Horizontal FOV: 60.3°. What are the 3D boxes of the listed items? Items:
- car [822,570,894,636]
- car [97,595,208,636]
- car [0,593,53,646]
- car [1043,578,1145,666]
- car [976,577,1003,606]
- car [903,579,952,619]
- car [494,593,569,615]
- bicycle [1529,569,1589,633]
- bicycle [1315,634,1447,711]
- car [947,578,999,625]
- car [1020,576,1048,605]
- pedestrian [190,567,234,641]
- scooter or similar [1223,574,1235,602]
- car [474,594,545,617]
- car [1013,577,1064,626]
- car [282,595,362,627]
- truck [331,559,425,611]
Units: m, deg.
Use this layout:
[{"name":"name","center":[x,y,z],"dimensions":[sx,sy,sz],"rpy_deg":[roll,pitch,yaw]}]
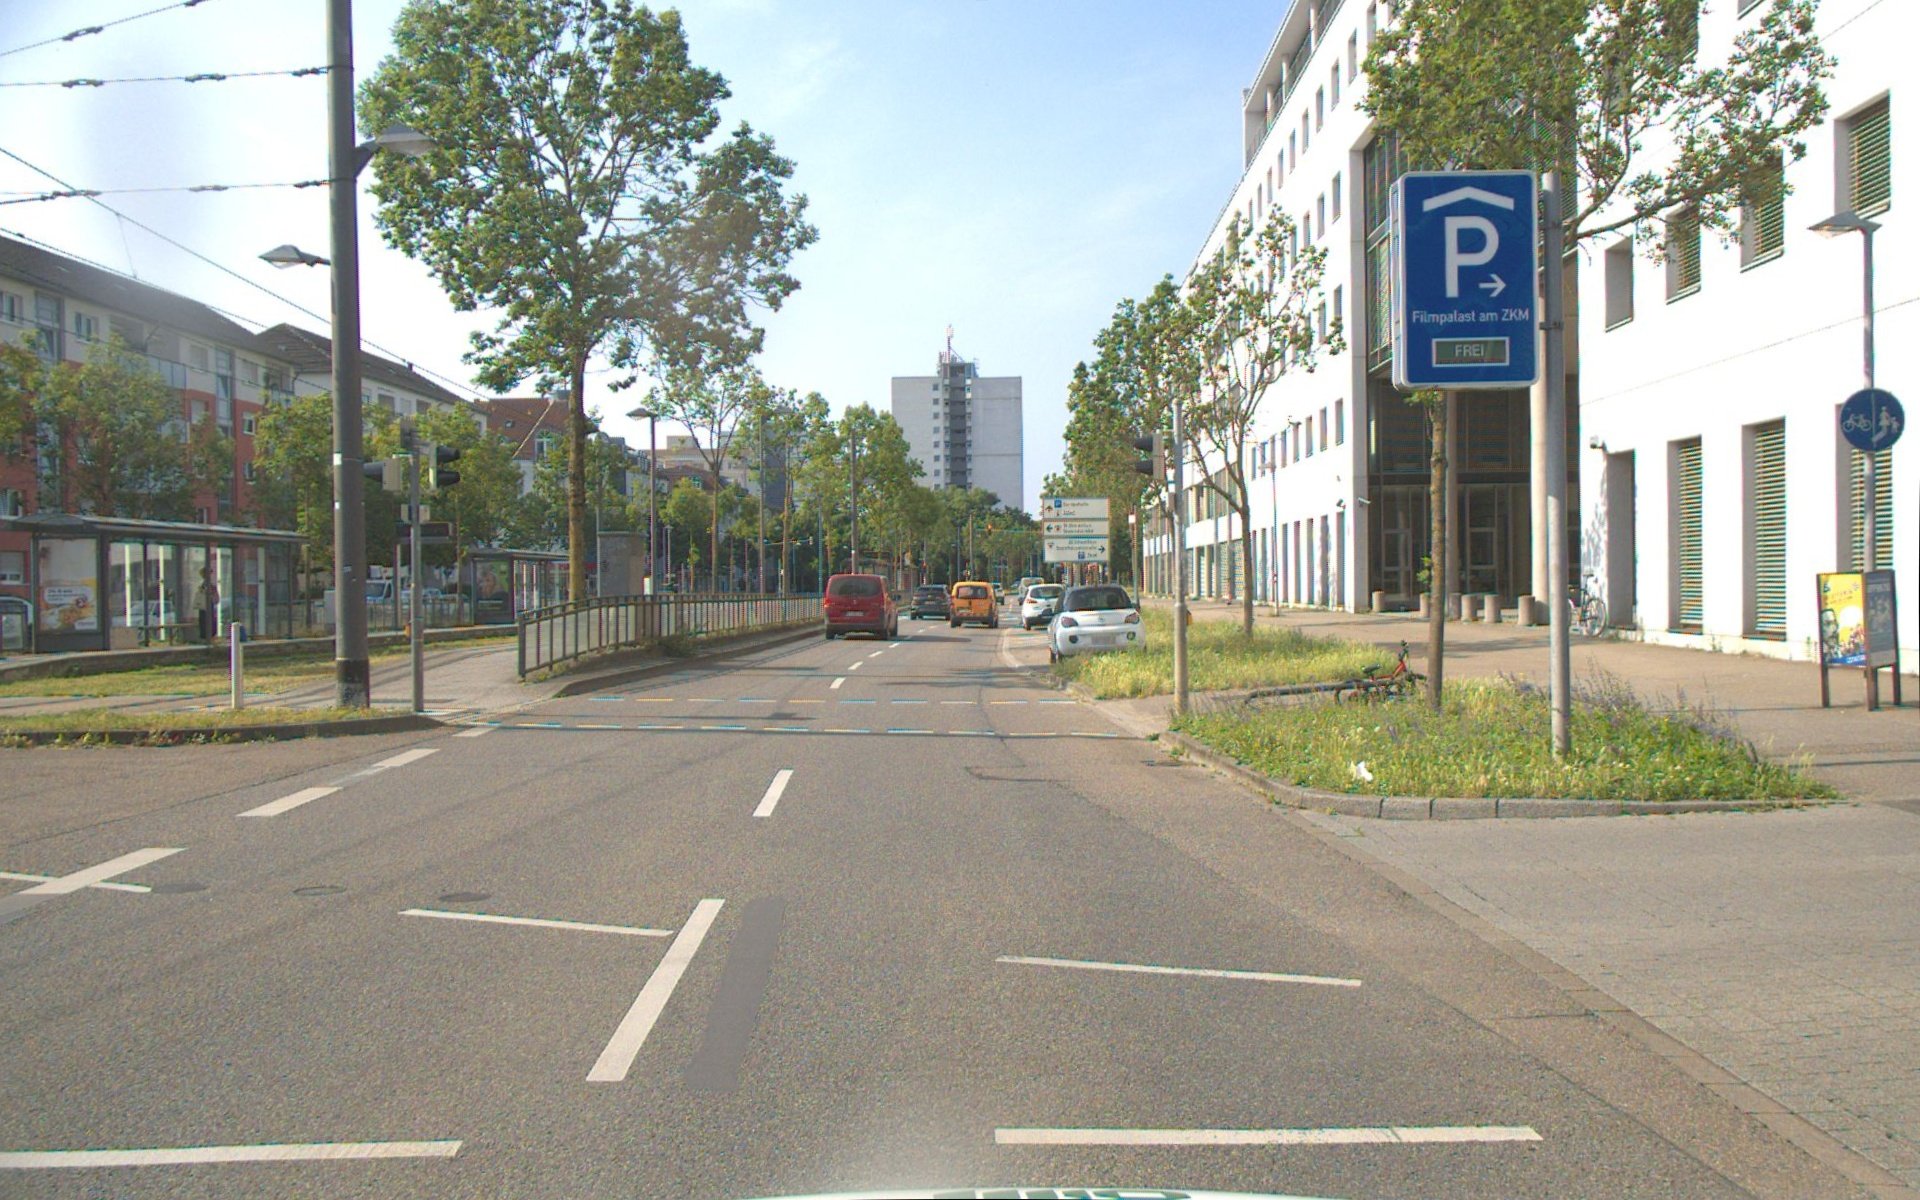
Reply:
[{"name":"car","center":[-3.004,0.074,49.482],"dimensions":[1.836,1.886,4.000],"rpy_deg":[0,0,1]},{"name":"car","center":[-29.138,0.543,59.816],"dimensions":[1.940,1.384,4.070],"rpy_deg":[1,0,1]},{"name":"car","center":[-29.648,0.577,49.940],"dimensions":[1.940,1.583,4.538],"rpy_deg":[1,0,1]},{"name":"car","center":[2.512,0.378,31.684],"dimensions":[1.685,1.545,3.782],"rpy_deg":[-1,1,1]},{"name":"car","center":[2.138,-0.651,120.710],"dimensions":[1.952,2.049,4.000],"rpy_deg":[-1,0,1]},{"name":"car","center":[-1.436,-0.043,74.429],"dimensions":[1.952,1.735,4.001],"rpy_deg":[1,0,2]},{"name":"car","center":[-25.898,0.227,99.974],"dimensions":[3.903,1.266,1.940],"rpy_deg":[0,0,17]},{"name":"bicycle","center":[10.894,0.014,30.119],"dimensions":[0.483,1.105,1.550],"rpy_deg":[-2,0,-1]},{"name":"bicycle","center":[4.434,0.761,17.472],"dimensions":[1.244,0.643,0.521],"rpy_deg":[-7,-1,9]},{"name":"car","center":[0.518,0.038,63.348],"dimensions":[1.836,1.726,3.975],"rpy_deg":[0,0,2]},{"name":"car","center":[5.405,-0.686,121.332],"dimensions":[1.952,2.049,4.001],"rpy_deg":[-1,0,2]},{"name":"pedestrian","center":[-17.153,0.087,37.932],"dimensions":[0.658,1.682,0.794],"rpy_deg":[-1,0,-3]},{"name":"scooter or similar","center":[12.027,-0.555,73.904],"dimensions":[0.452,1.234,1.256],"rpy_deg":[-2,0,8]},{"name":"car","center":[-26.244,0.322,96.374],"dimensions":[3.915,1.266,1.828],"rpy_deg":[0,0,33]},{"name":"car","center":[2.728,0.039,57.679],"dimensions":[1.654,1.552,3.852],"rpy_deg":[-3,0,2]},{"name":"car","center":[-28.756,0.486,74.673],"dimensions":[1.940,1.384,4.070],"rpy_deg":[1,0,1]},{"name":"truck","center":[-31.362,-0.792,89.384],"dimensions":[2.317,2.607,7.242],"rpy_deg":[1,0,1]}]
